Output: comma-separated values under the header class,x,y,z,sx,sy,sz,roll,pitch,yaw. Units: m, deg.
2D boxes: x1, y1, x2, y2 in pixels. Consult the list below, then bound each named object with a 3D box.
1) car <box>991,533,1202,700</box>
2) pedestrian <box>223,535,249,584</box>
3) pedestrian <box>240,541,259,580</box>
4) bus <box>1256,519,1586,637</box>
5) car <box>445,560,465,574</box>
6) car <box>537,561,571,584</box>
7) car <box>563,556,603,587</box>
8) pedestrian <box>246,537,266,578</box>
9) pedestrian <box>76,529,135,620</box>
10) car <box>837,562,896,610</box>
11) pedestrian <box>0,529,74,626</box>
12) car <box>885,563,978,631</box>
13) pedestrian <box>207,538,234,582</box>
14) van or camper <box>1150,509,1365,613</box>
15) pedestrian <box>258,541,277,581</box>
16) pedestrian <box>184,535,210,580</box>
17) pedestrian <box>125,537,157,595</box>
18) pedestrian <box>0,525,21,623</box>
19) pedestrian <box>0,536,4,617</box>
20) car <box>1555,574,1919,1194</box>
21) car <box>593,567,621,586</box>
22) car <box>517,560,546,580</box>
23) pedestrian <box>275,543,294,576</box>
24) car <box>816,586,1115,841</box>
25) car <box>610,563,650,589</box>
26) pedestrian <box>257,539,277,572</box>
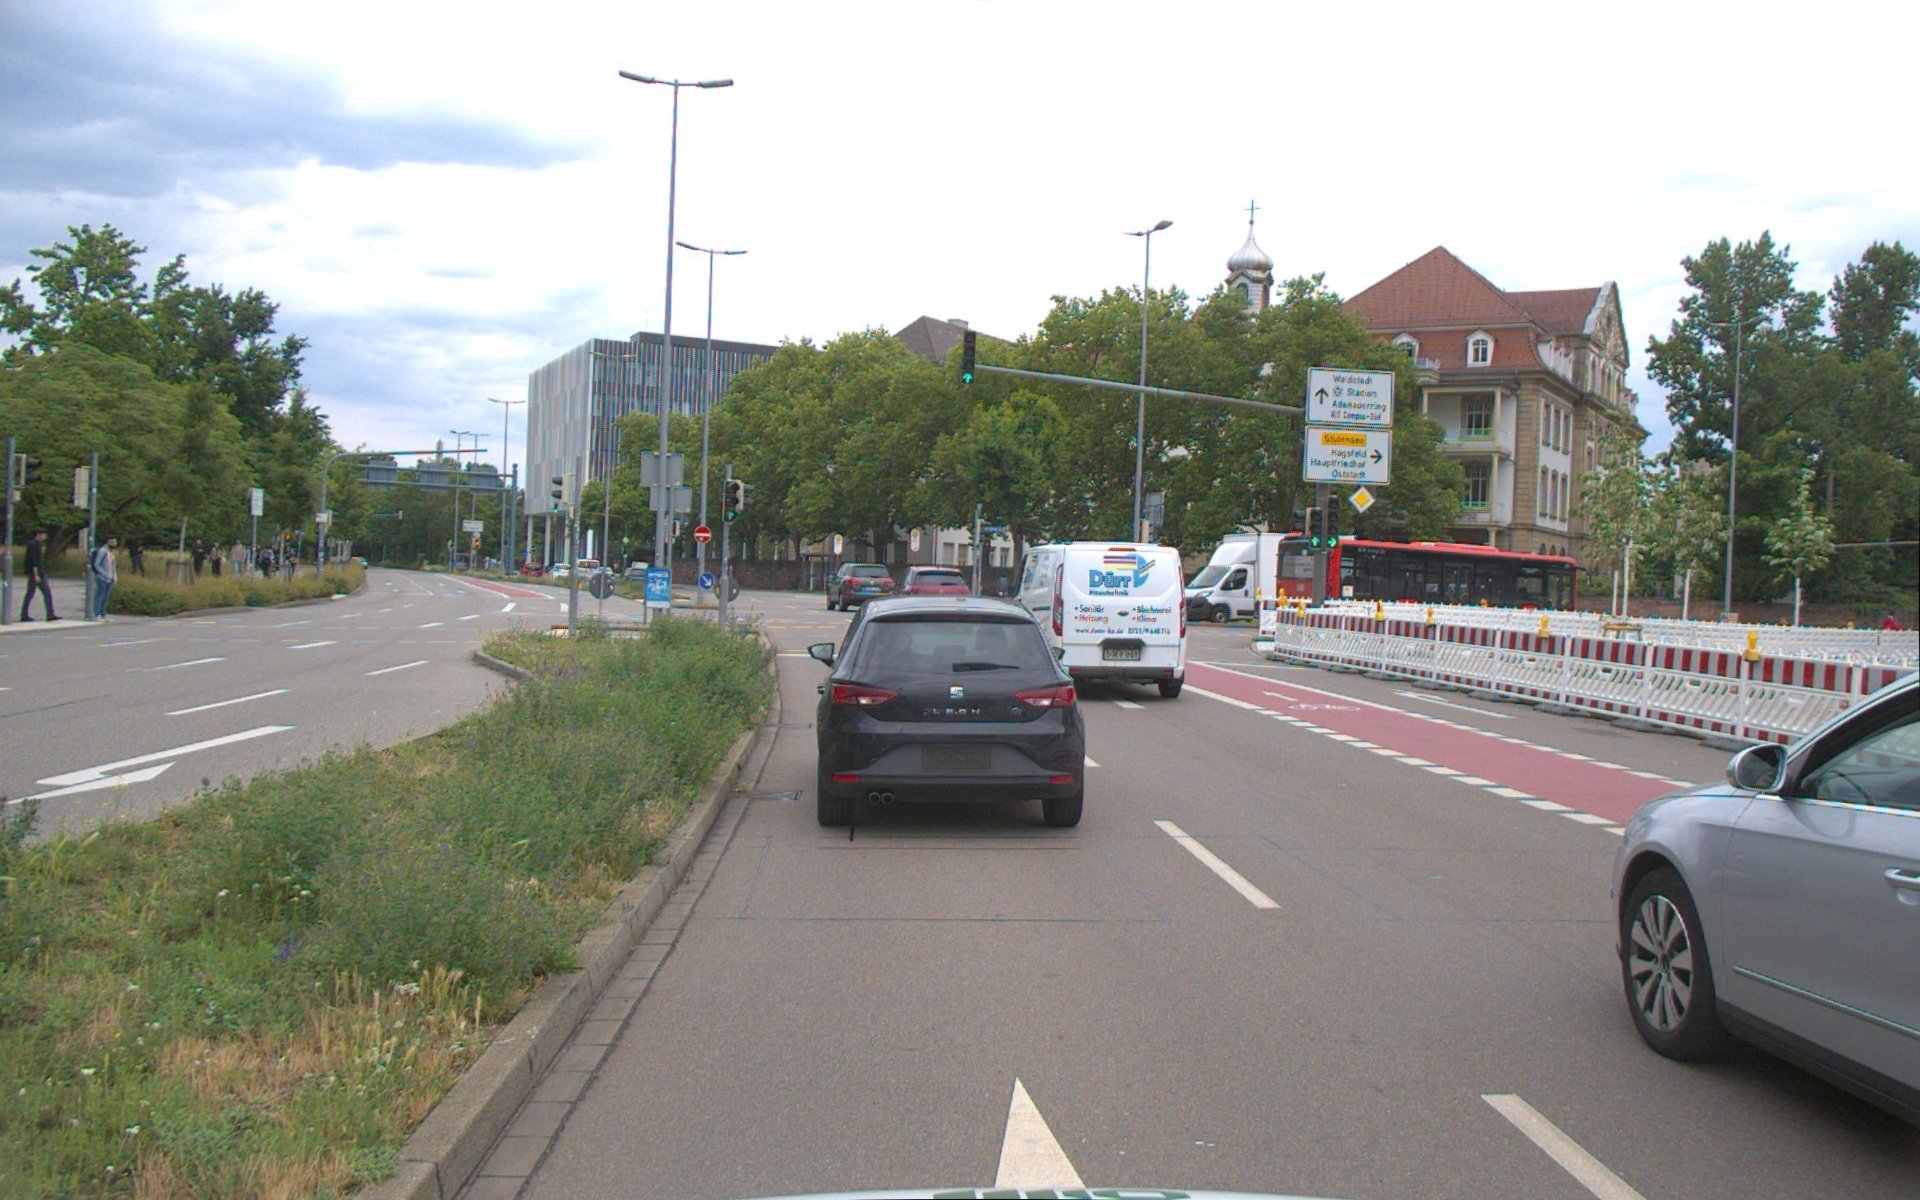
class,x,y,z,sx,sy,sz,roll,pitch,yaw
car,1.764,0.157,23.232,1.955,2.054,5.025,2,1,-7
pedestrian,-30.960,-1.734,70.747,0.741,2.049,1.044,1,1,-11
pedestrian,-34.369,-1.913,80.053,0.702,1.902,0.755,1,1,-15
bus,15.149,-0.617,53.584,12.227,3.355,3.033,2,1,-34
car,-52.529,-3.443,171.922,1.688,1.287,3.317,2,1,-23
car,-31.786,-2.163,129.375,1.967,1.668,3.972,2,1,-23
car,-27.169,-2.060,119.066,1.969,2.048,3.968,2,1,-25
pedestrian,-36.045,-2.167,84.653,0.742,2.049,1.043,1,1,-15
pedestrian,-18.032,-0.544,34.915,0.875,1.874,0.667,1,1,-2
car,-3.315,-0.520,58.268,1.954,1.593,4.202,2,1,-4
pedestrian,-18.449,-0.455,33.032,1.027,1.874,0.866,1,1,-2
car,-0.802,-0.119,42.770,1.823,1.628,4.197,1,1,-9
pedestrian,-30.193,-1.640,67.536,0.741,1.742,1.044,1,1,-11
van or camper,10.436,-1.295,57.936,7.035,3.390,2.855,1,0,-24
pedestrian,-33.649,-1.876,80.350,0.702,1.902,0.755,1,1,-15
pedestrian,-30.880,-1.728,66.928,0.741,1.796,0.904,1,1,-11
pedestrian,-29.444,-1.232,59.449,0.741,2.049,1.044,1,1,-11
pedestrian,-18.608,-0.512,31.696,0.742,1.874,0.766,2,1,-2
pedestrian,-20.318,-0.497,34.008,0.825,1.677,0.805,1,1,-2
car,3.206,0.713,4.030,1.686,1.508,4.627,1,1,-2
car,-27.642,-1.863,129.395,1.505,1.389,2.947,2,1,-24
car,-38.798,-2.688,149.560,1.967,1.711,3.983,2,1,-23
pedestrian,-38.481,-2.312,94.232,0.904,1.810,1.058,1,1,-20
car,-0.133,0.647,11.748,1.712,1.489,3.995,0,0,-6
car,-23.245,-1.707,116.407,1.893,1.713,3.969,2,1,-25
pedestrian,-39.341,-2.538,93.899,0.904,1.810,1.058,1,1,-20
